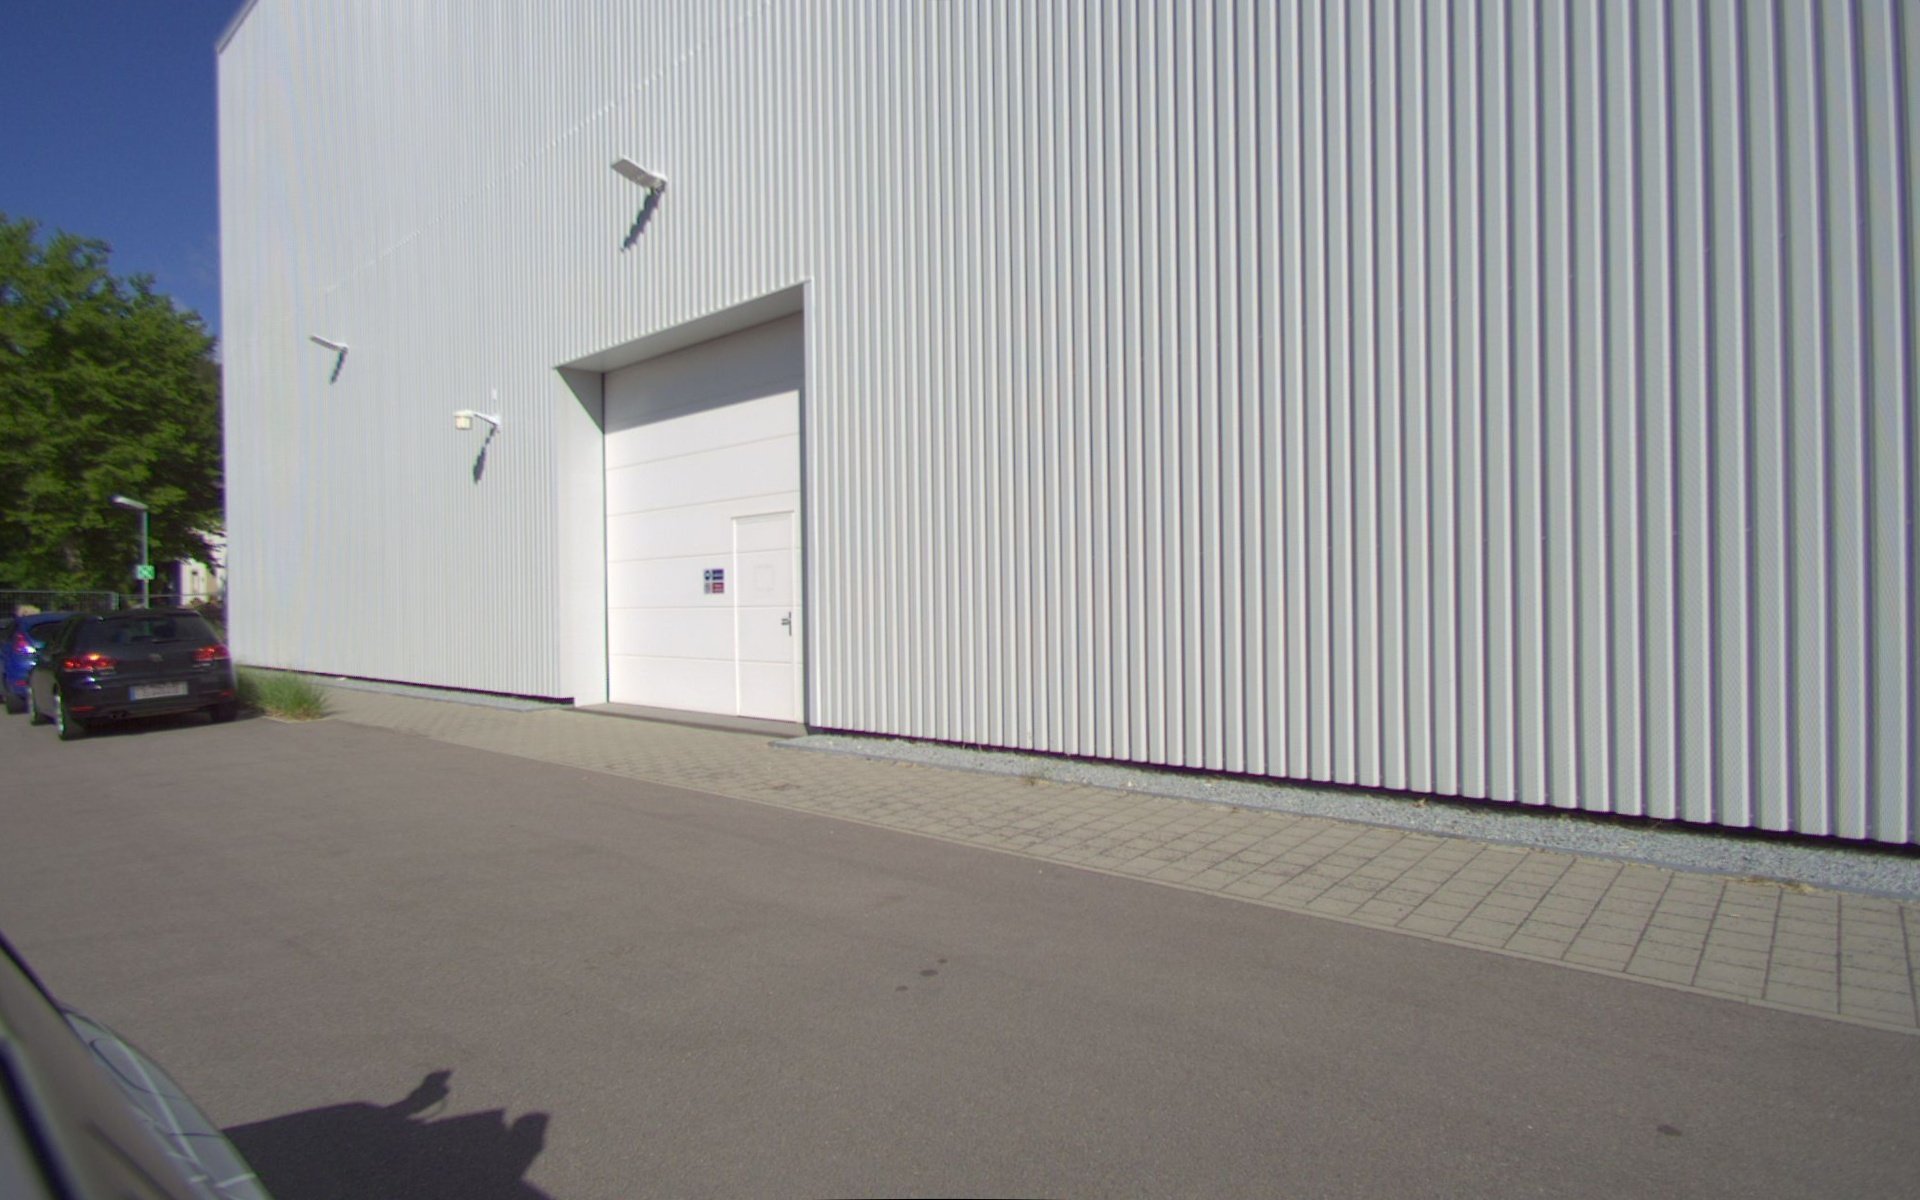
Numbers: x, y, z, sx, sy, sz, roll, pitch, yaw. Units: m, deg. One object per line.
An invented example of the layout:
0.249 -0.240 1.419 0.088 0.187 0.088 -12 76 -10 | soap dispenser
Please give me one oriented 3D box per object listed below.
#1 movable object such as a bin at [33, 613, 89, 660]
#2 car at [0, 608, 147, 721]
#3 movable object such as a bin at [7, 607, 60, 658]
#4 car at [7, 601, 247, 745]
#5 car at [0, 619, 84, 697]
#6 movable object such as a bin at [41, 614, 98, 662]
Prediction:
-29.473 1.189 33.180 1.228 1.450 1.080 0 2 36 | movable object such as a bin
-14.634 0.950 16.300 4.092 1.511 1.614 -1 2 40 | car
-31.204 1.073 34.078 1.228 1.609 1.080 1 1 36 | movable object such as a bin
-10.904 0.829 13.134 4.292 1.511 1.736 -1 1 42 | car
-18.742 1.087 19.871 4.051 1.371 1.756 -1 0 41 | car
-28.448 1.205 32.329 1.228 1.443 1.080 0 2 36 | movable object such as a bin
